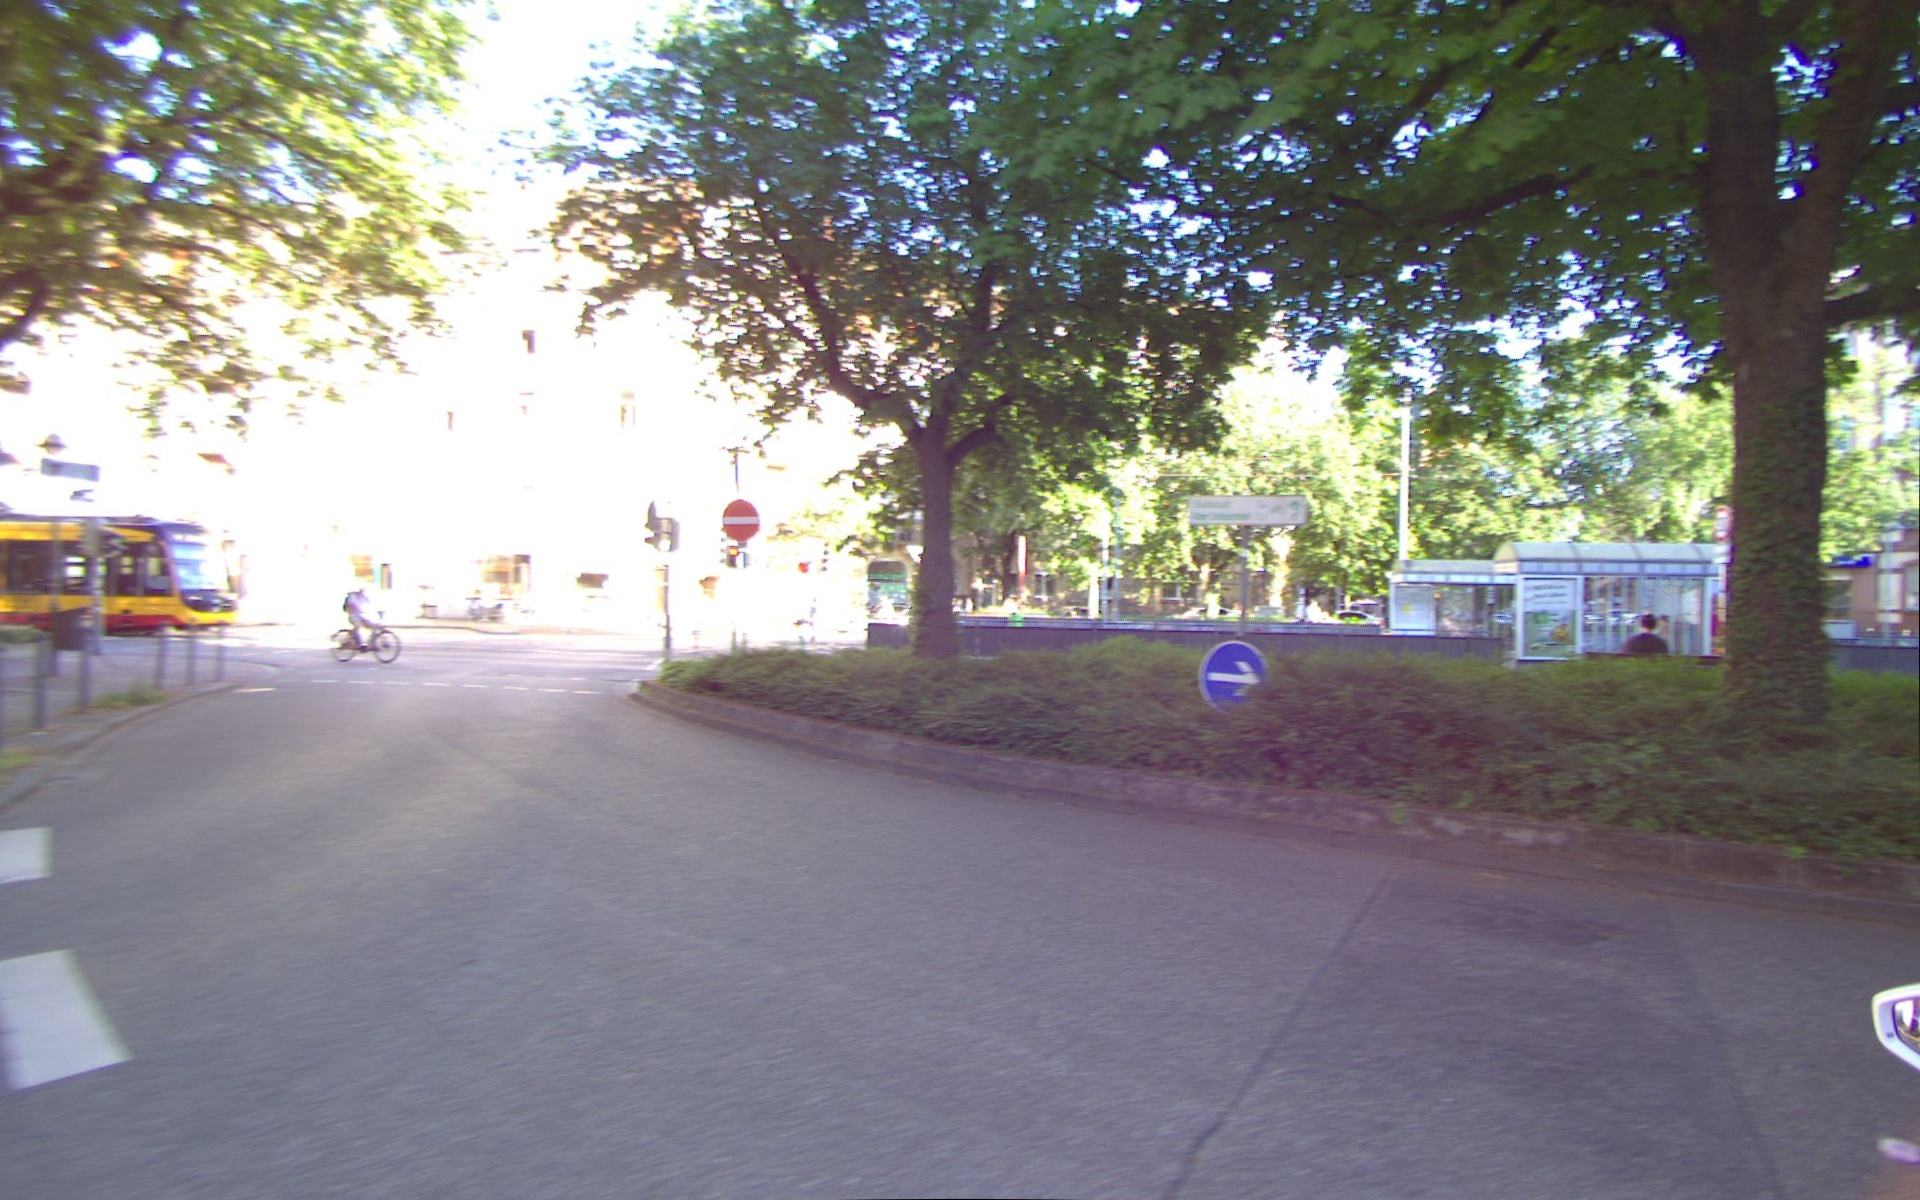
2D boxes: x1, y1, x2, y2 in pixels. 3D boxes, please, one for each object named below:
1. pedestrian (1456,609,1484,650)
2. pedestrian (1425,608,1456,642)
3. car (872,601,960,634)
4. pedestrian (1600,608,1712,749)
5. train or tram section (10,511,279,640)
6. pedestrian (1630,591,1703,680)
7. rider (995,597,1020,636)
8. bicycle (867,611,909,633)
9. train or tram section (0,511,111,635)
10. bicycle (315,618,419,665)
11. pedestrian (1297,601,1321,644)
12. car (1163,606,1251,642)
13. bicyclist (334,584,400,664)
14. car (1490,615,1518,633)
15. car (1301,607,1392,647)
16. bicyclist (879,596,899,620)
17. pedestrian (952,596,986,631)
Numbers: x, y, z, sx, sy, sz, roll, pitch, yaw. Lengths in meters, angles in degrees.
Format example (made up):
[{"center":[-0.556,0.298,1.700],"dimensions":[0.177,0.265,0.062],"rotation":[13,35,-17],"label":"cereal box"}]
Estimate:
[{"center":[20.632,1.186,40.631],"dimensions":[0.796,1.564,0.821],"rotation":[3,1,18],"label":"pedestrian"},{"center":[23.861,1.232,49.906],"dimensions":[1.044,1.652,1.003],"rotation":[1,0,-4],"label":"pedestrian"},{"center":[-2.050,0.789,46.807],"dimensions":[3.669,1.458,1.883],"rotation":[1,0,-35],"label":"car"},{"center":[8.884,0.966,12.841],"dimensions":[0.809,1.706,0.893],"rotation":[1,0,-27],"label":"pedestrian"},{"center":[-24.951,-0.733,30.886],"dimensions":[6.218,3.689,2.924],"rotation":[1,0,8],"label":"train or tram section"},{"center":[15.826,0.779,22.539],"dimensions":[0.999,1.923,0.913],"rotation":[1,0,8],"label":"pedestrian"},{"center":[2.162,0.736,45.353],"dimensions":[0.809,1.704,0.667],"rotation":[4,2,40],"label":"rider"},{"center":[-3.165,0.966,44.301],"dimensions":[1.724,0.958,0.648],"rotation":[1,0,-33],"label":"bicycle"},{"center":[-31.641,-0.858,31.734],"dimensions":[7.700,3.663,2.924],"rotation":[1,0,8],"label":"train or tram section"},{"center":[-13.193,0.911,22.376],"dimensions":[1.942,0.971,0.771],"rotation":[1,0,9],"label":"bicycle"},{"center":[14.351,0.926,41.317],"dimensions":[0.690,1.717,0.671],"rotation":[3,1,8],"label":"pedestrian"},{"center":[12.557,1.211,51.092],"dimensions":[3.882,1.702,1.949],"rotation":[1,0,-14],"label":"car"},{"center":[-13.220,0.516,22.404],"dimensions":[1.026,1.739,0.696],"rotation":[1,0,9],"label":"bicyclist"},{"center":[49.358,2.162,91.109],"dimensions":[1.737,1.628,3.987],"rotation":[1,0,35],"label":"car"},{"center":[19.833,1.363,51.665],"dimensions":[3.919,1.896,2.001],"rotation":[1,0,4],"label":"car"},{"center":[-3.124,0.360,44.322],"dimensions":[0.670,1.068,0.607],"rotation":[1,0,-33],"label":"bicyclist"},{"center":[0.490,0.758,55.795],"dimensions":[1.475,1.937,1.251],"rotation":[1,0,-28],"label":"pedestrian"}]
